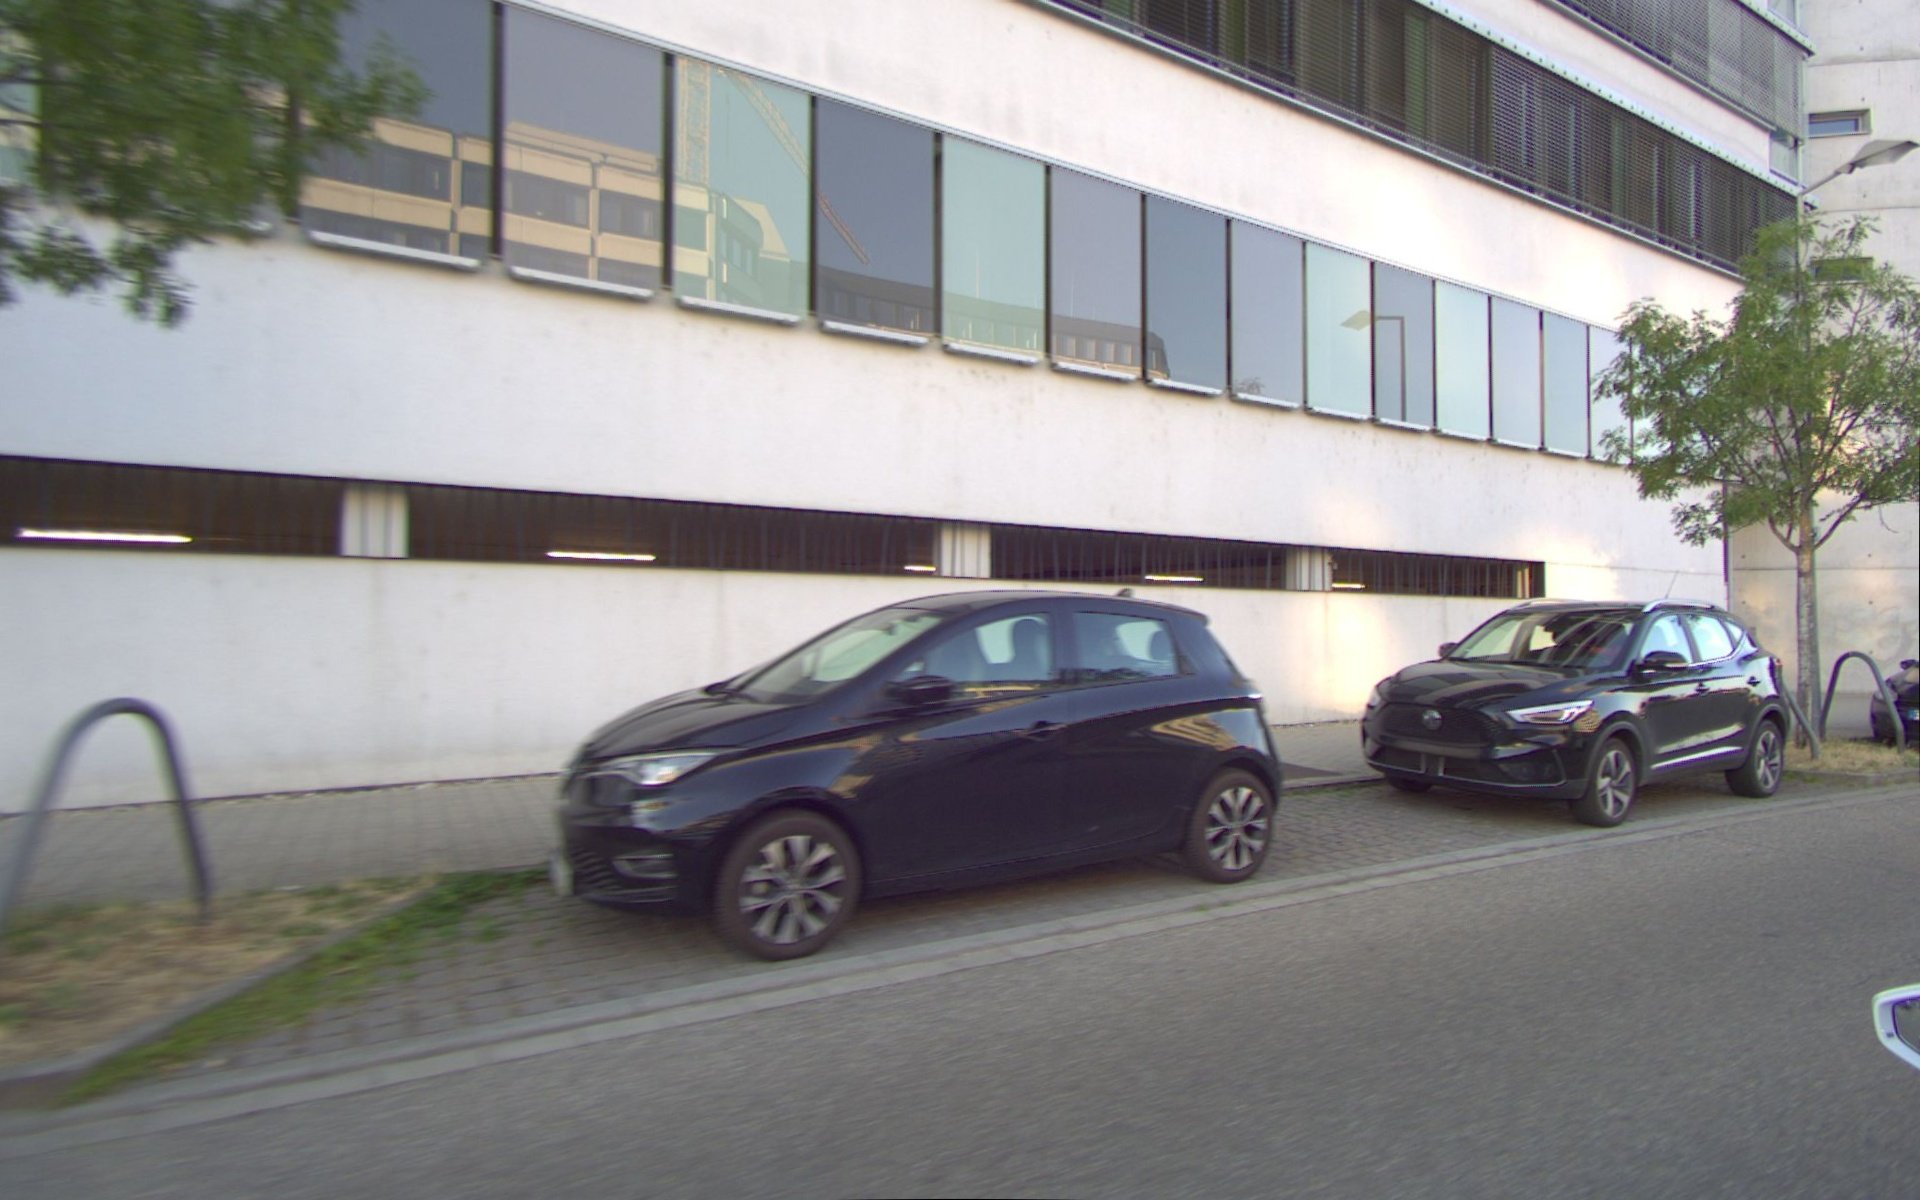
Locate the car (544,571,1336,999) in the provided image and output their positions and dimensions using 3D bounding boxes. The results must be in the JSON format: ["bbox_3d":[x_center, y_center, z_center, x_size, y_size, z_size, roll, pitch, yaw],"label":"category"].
[{"bbox_3d":[-0.014,0.687,5.478,3.995,1.582,1.747,0,1,-30],"label":"car"}]

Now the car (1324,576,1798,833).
[{"bbox_3d":[5.028,0.682,8.302,3.903,1.675,1.747,0,1,-31],"label":"car"}]

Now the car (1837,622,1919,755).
[{"bbox_3d":[12.839,1.038,12.183,4.212,1.477,1.718,0,1,-24],"label":"car"}]
